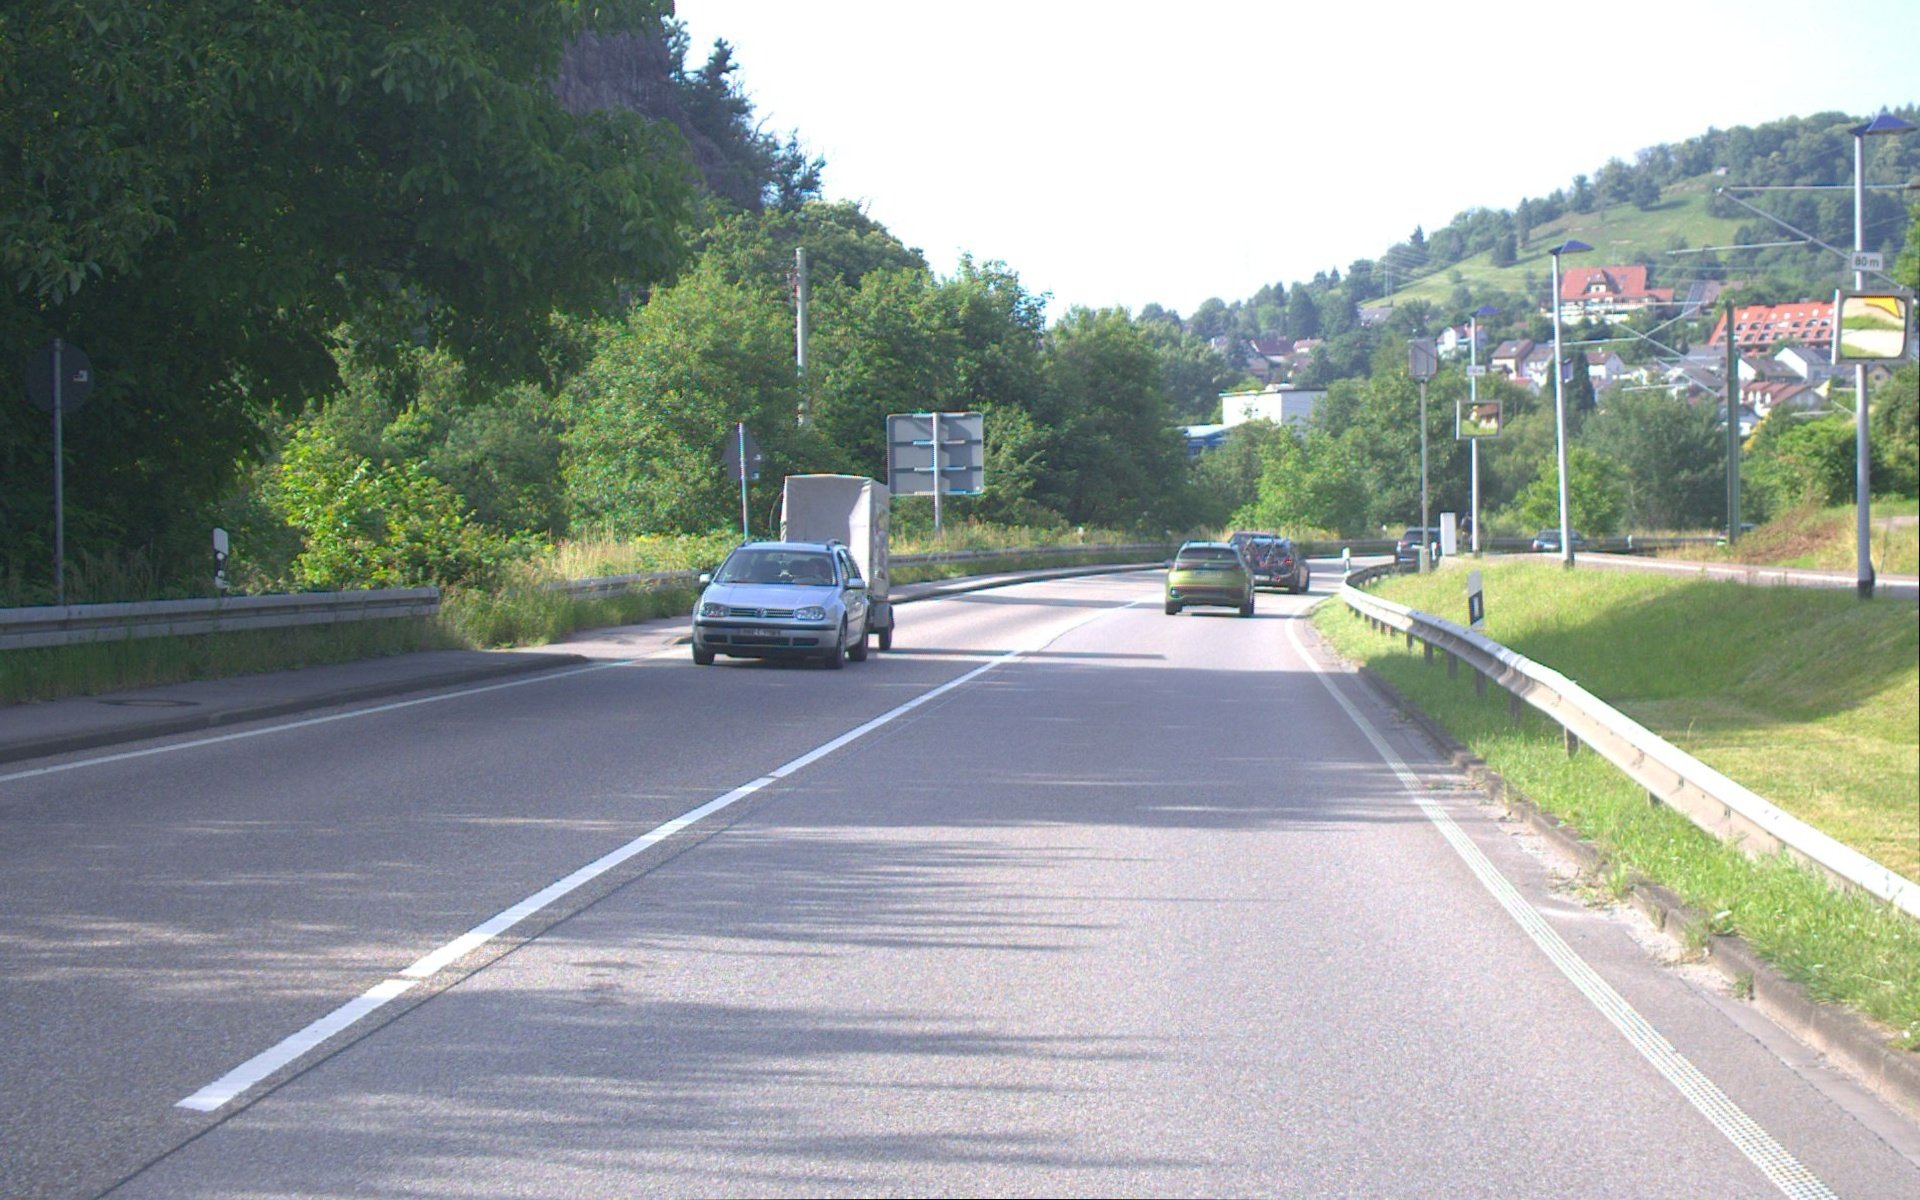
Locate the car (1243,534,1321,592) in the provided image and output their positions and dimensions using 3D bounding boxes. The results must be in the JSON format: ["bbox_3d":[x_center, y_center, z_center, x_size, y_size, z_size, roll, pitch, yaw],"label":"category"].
[{"bbox_3d":[8.661,-1.006,92.202,1.840,1.454,3.712,-1,1,9],"label":"car"}]

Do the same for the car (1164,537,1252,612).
[{"bbox_3d":[5.094,-0.540,70.350,1.729,1.452,3.410,-1,1,5],"label":"car"}]

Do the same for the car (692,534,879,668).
[{"bbox_3d":[-2.014,-0.036,40.846,1.648,1.431,4.605,2,1,4],"label":"car"}]

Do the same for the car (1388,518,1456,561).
[{"bbox_3d":[16.615,-2.184,123.513,1.808,1.448,3.644,-1,1,17],"label":"car"}]

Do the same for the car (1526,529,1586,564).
[{"bbox_3d":[25.295,-2.292,145.890,1.810,1.403,3.769,-1,1,21],"label":"car"}]

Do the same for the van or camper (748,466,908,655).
[{"bbox_3d":[-1.691,-0.547,45.173,1.603,2.321,4.059,2,1,4],"label":"van or camper"}]
